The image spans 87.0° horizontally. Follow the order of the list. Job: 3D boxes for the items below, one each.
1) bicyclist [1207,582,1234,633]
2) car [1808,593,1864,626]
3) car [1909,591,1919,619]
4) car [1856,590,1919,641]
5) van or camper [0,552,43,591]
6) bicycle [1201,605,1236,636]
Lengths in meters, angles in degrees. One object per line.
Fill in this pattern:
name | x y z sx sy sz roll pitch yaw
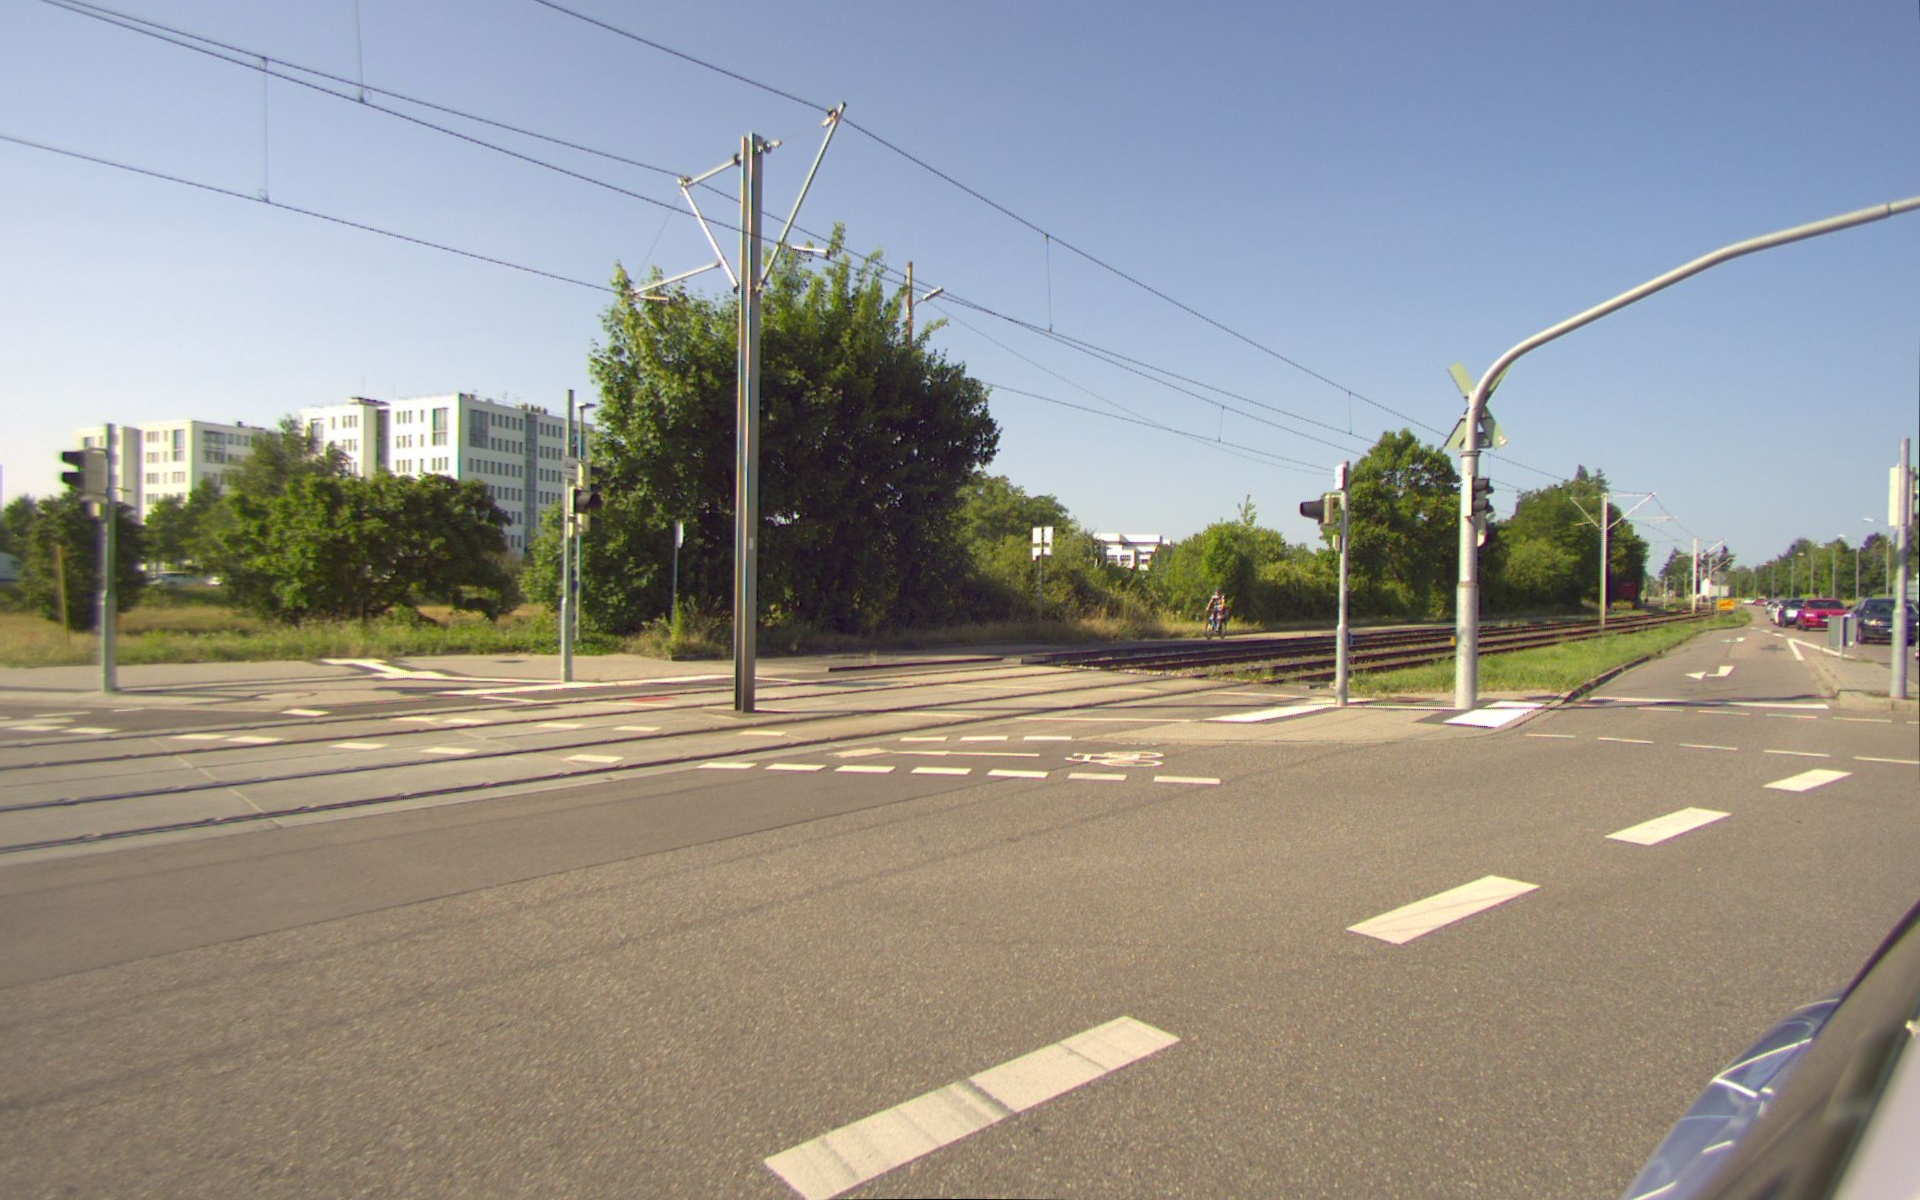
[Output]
bicyclist | 9.495 0.269 36.935 0.705 1.830 0.707 1 0 40
car | 42.567 0.431 49.263 1.799 1.525 4.140 1 1 38
car | 54.730 0.308 56.553 1.739 1.581 3.952 3 2 34
car | 32.976 0.496 35.631 1.812 1.672 4.548 0 0 37
van or camper | -71.045 -2.102 73.284 2.210 2.813 6.703 1 1 18
bicycle | 9.426 0.729 36.859 0.544 1.060 1.847 1 1 38
